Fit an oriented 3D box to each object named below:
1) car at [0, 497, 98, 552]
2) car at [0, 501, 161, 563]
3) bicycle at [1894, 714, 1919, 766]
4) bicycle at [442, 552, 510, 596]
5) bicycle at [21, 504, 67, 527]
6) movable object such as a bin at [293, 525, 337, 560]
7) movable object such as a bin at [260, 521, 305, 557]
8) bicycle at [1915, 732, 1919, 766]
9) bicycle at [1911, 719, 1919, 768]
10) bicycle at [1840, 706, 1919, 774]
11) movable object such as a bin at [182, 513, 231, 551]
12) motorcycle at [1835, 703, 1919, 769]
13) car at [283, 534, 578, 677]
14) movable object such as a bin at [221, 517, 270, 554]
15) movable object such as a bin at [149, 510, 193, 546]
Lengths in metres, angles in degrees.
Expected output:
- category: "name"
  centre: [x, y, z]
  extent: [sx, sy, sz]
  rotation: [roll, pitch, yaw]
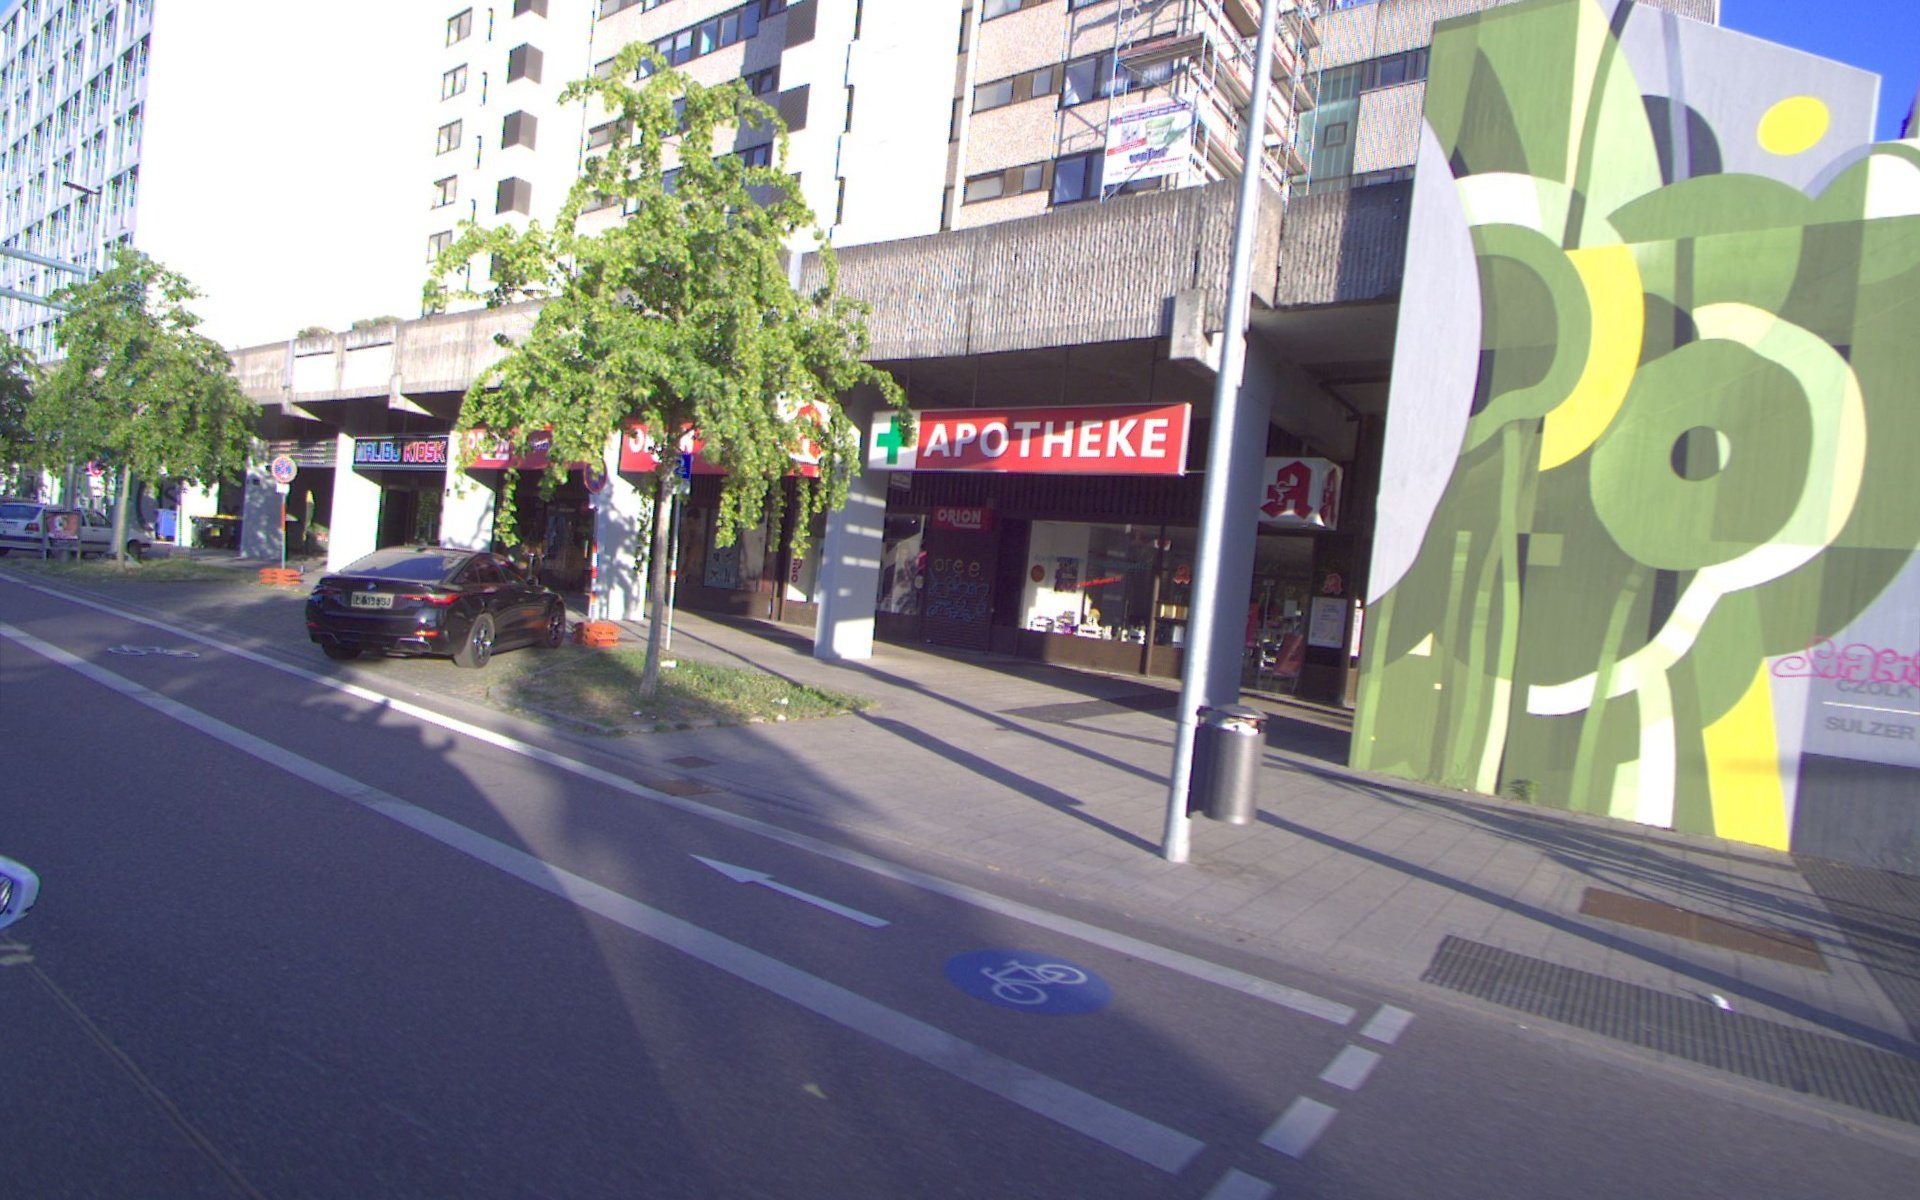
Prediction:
- category: "car"
  centre: [-29.077, -2.344, 30.522]
  extent: [1.904, 1.529, 4.663]
  rotation: [4, 2, -3]
- category: "car"
  centre: [-23.854, -1.788, 26.941]
  extent: [1.718, 1.436, 3.986]
  rotation: [5, 2, -1]
- category: "bicycle"
  centre: [21.035, 3.077, 21.390]
  extent: [1.542, 1.051, 0.483]
  rotation: [7, 3, 33]
- category: "bicycle"
  centre: [-12.827, -0.679, 26.704]
  extent: [0.426, 1.063, 1.571]
  rotation: [7, 3, 35]
- category: "bicycle"
  centre: [-48.518, -4.481, 53.306]
  extent: [0.542, 0.999, 1.699]
  rotation: [7, 3, 33]
- category: "movable object such as a bin"
  centre: [-27.523, -2.461, 42.935]
  extent: [1.071, 1.330, 1.181]
  rotation: [7, 1, 35]
- category: "movable object such as a bin"
  centre: [-28.227, -2.551, 41.926]
  extent: [1.107, 1.330, 1.181]
  rotation: [7, 1, 35]
- category: "bicycle"
  centre: [20.804, 3.083, 20.672]
  extent: [1.542, 0.963, 0.483]
  rotation: [7, 2, 33]
- category: "bicycle"
  centre: [20.404, 3.032, 20.160]
  extent: [1.737, 0.963, 0.698]
  rotation: [7, 2, 32]
- category: "bicycle"
  centre: [18.094, 2.717, 19.074]
  extent: [1.891, 1.072, 0.780]
  rotation: [7, 2, 32]
- category: "movable object such as a bin"
  centre: [-29.649, -2.657, 39.581]
  extent: [1.247, 1.341, 1.180]
  rotation: [7, 4, 35]
- category: "motorcycle"
  centre: [18.705, 2.732, 19.730]
  extent: [2.118, 1.072, 0.785]
  rotation: [7, 2, 32]
- category: "car"
  centre: [-6.917, -0.002, 13.789]
  extent: [1.781, 1.472, 4.600]
  rotation: [5, 2, -4]
- category: "movable object such as a bin"
  centre: [-28.934, -2.605, 40.754]
  extent: [1.284, 1.315, 1.181]
  rotation: [7, 1, 35]
- category: "movable object such as a bin"
  centre: [-33.111, -3.033, 42.211]
  extent: [1.263, 1.348, 1.103]
  rotation: [7, 3, 36]
